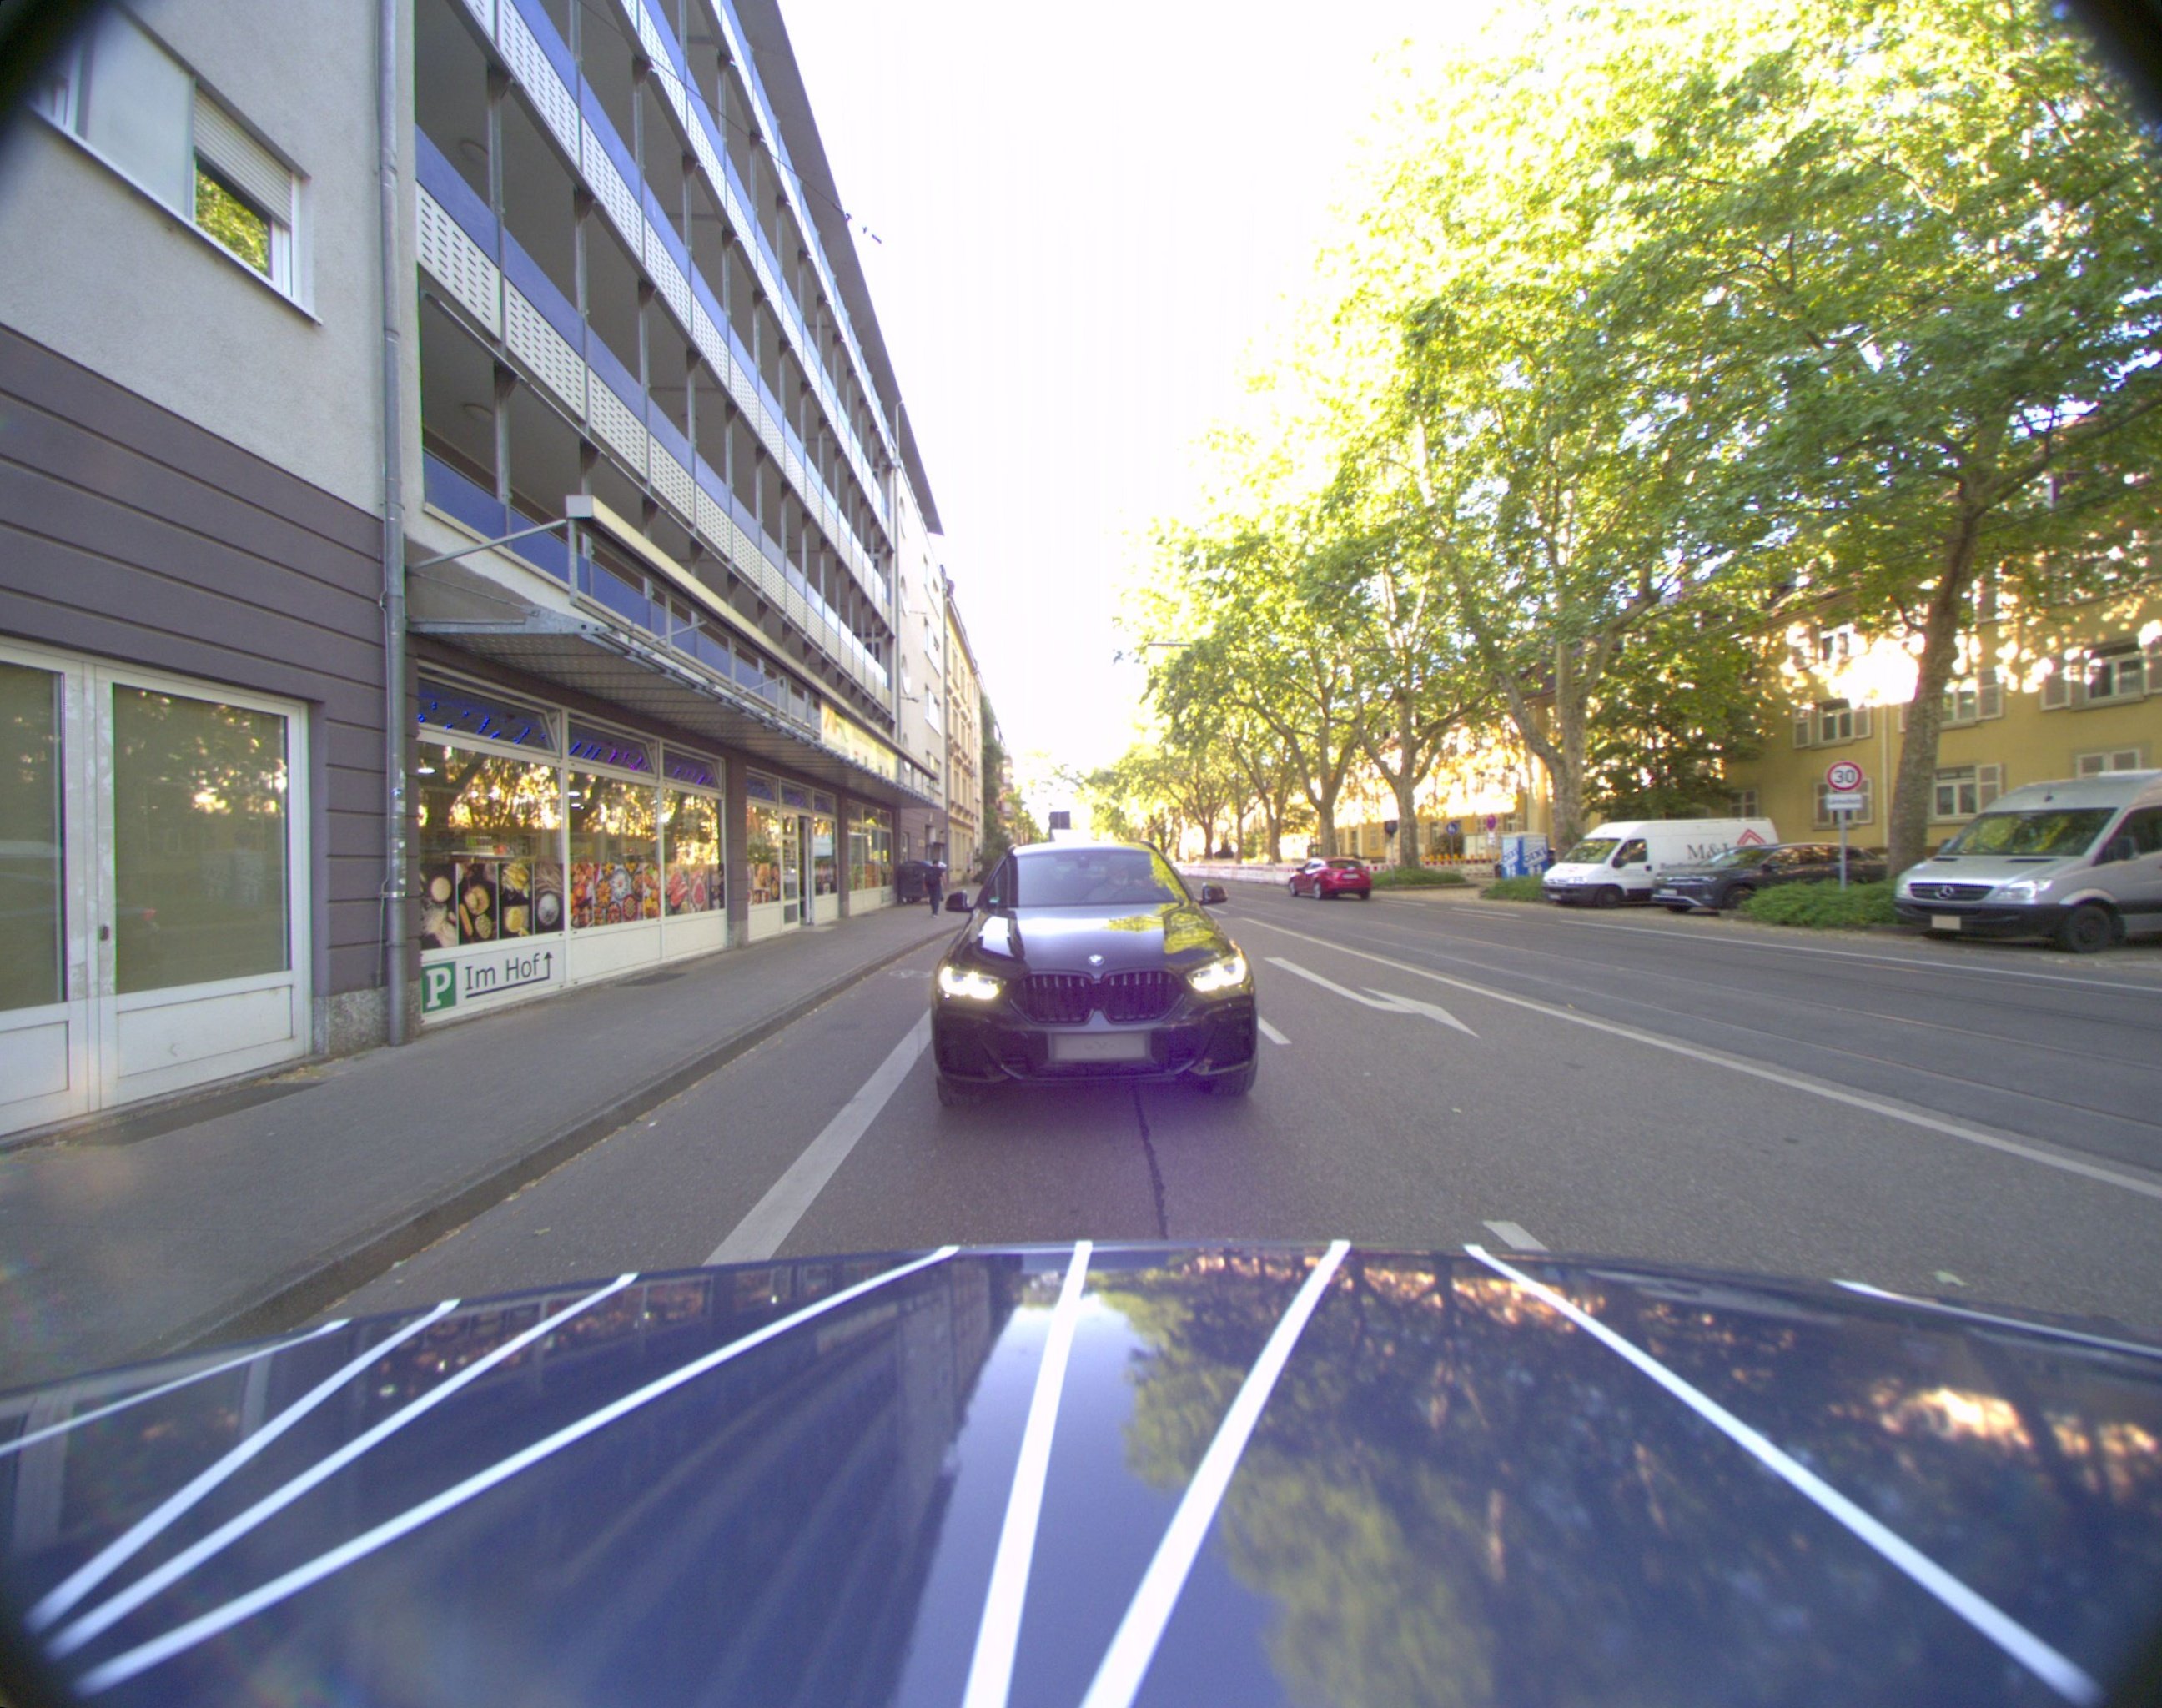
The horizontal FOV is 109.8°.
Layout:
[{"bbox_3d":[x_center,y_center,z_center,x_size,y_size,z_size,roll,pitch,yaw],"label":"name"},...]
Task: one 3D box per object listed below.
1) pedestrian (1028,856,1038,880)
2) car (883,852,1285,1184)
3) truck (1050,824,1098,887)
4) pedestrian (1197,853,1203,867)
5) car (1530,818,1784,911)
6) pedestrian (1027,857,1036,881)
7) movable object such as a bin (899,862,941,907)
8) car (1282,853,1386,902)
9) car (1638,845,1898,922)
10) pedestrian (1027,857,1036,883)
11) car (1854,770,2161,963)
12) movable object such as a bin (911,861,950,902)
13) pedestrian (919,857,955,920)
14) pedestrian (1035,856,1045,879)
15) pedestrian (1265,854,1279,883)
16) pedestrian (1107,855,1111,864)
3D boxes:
[{"bbox_3d":[-3.931,1.128,62.177,0.733,1.875,0.664,-2,1,-1],"label":"pedestrian"},{"bbox_3d":[0.044,0.835,5.972,1.998,1.643,4.295,-1,0,1],"label":"car"},{"bbox_3d":[-0.316,0.119,41.937,2.394,3.170,6.587,-1,0,1],"label":"truck"},{"bbox_3d":[15.694,0.782,100.465,0.732,1.875,0.665,-2,1,8],"label":"pedestrian"},{"bbox_3d":[15.847,0.291,21.145,5.404,2.362,2.223,-1,0,0],"label":"car"},{"bbox_3d":[-3.909,1.150,60.102,0.600,1.875,0.581,-2,1,-1],"label":"pedestrian"},{"bbox_3d":[-5.209,0.986,24.644,1.158,1.418,0.939,-1,0,1],"label":"movable object such as a bin"},{"bbox_3d":[8.933,0.783,27.272,2.022,1.556,4.490,-1,0,-3],"label":"car"},{"bbox_3d":[16.080,0.659,17.937,4.627,1.642,1.774,-1,0,-2],"label":"car"},{"bbox_3d":[-3.666,1.180,56.563,0.600,1.875,0.581,-2,1,-1],"label":"pedestrian"},{"bbox_3d":[15.987,0.129,11.855,5.666,2.666,2.223,-2,0,-2],"label":"car"},{"bbox_3d":[-5.281,0.952,26.682,1.158,1.418,0.939,-1,0,1],"label":"movable object such as a bin"},{"bbox_3d":[-3.724,0.879,19.661,0.864,1.582,0.622,0,0,-5],"label":"pedestrian"},{"bbox_3d":[-3.308,1.089,61.402,0.733,1.875,0.664,-2,1,-1],"label":"pedestrian"},{"bbox_3d":[11.797,0.893,46.964,0.651,1.735,0.583,-2,1,0],"label":"pedestrian"},{"bbox_3d":[5.962,1.244,159.930,0.733,1.875,0.741,-2,1,-1],"label":"pedestrian"}]
